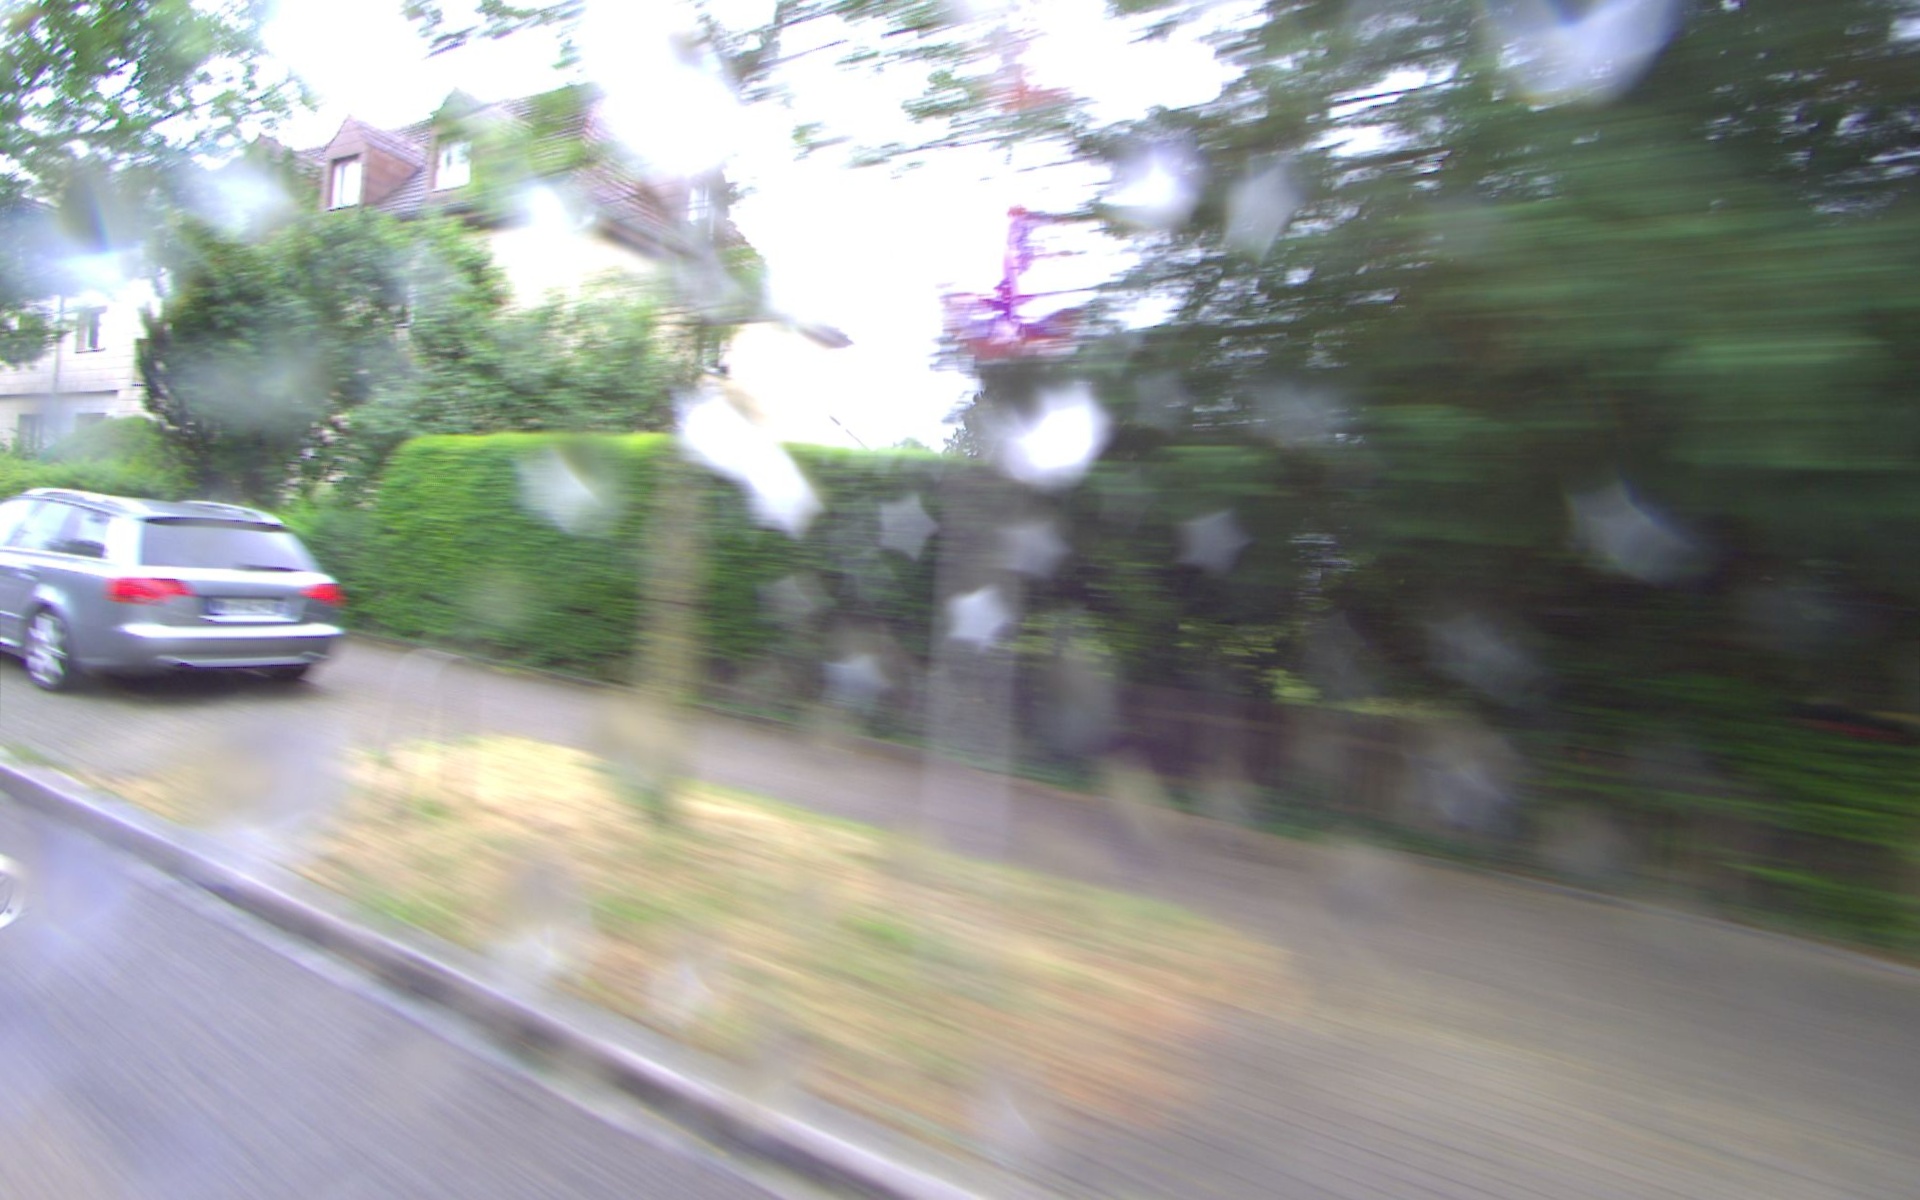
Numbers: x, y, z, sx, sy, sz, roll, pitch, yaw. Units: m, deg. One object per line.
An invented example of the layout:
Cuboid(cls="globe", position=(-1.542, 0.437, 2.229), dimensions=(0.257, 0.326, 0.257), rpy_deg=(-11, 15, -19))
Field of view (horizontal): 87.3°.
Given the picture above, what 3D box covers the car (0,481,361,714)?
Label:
Cuboid(cls="car", position=(-7.152, -0.177, 8.348), dimensions=(4.422, 1.408, 1.689), rpy_deg=(7, 3, 29))
